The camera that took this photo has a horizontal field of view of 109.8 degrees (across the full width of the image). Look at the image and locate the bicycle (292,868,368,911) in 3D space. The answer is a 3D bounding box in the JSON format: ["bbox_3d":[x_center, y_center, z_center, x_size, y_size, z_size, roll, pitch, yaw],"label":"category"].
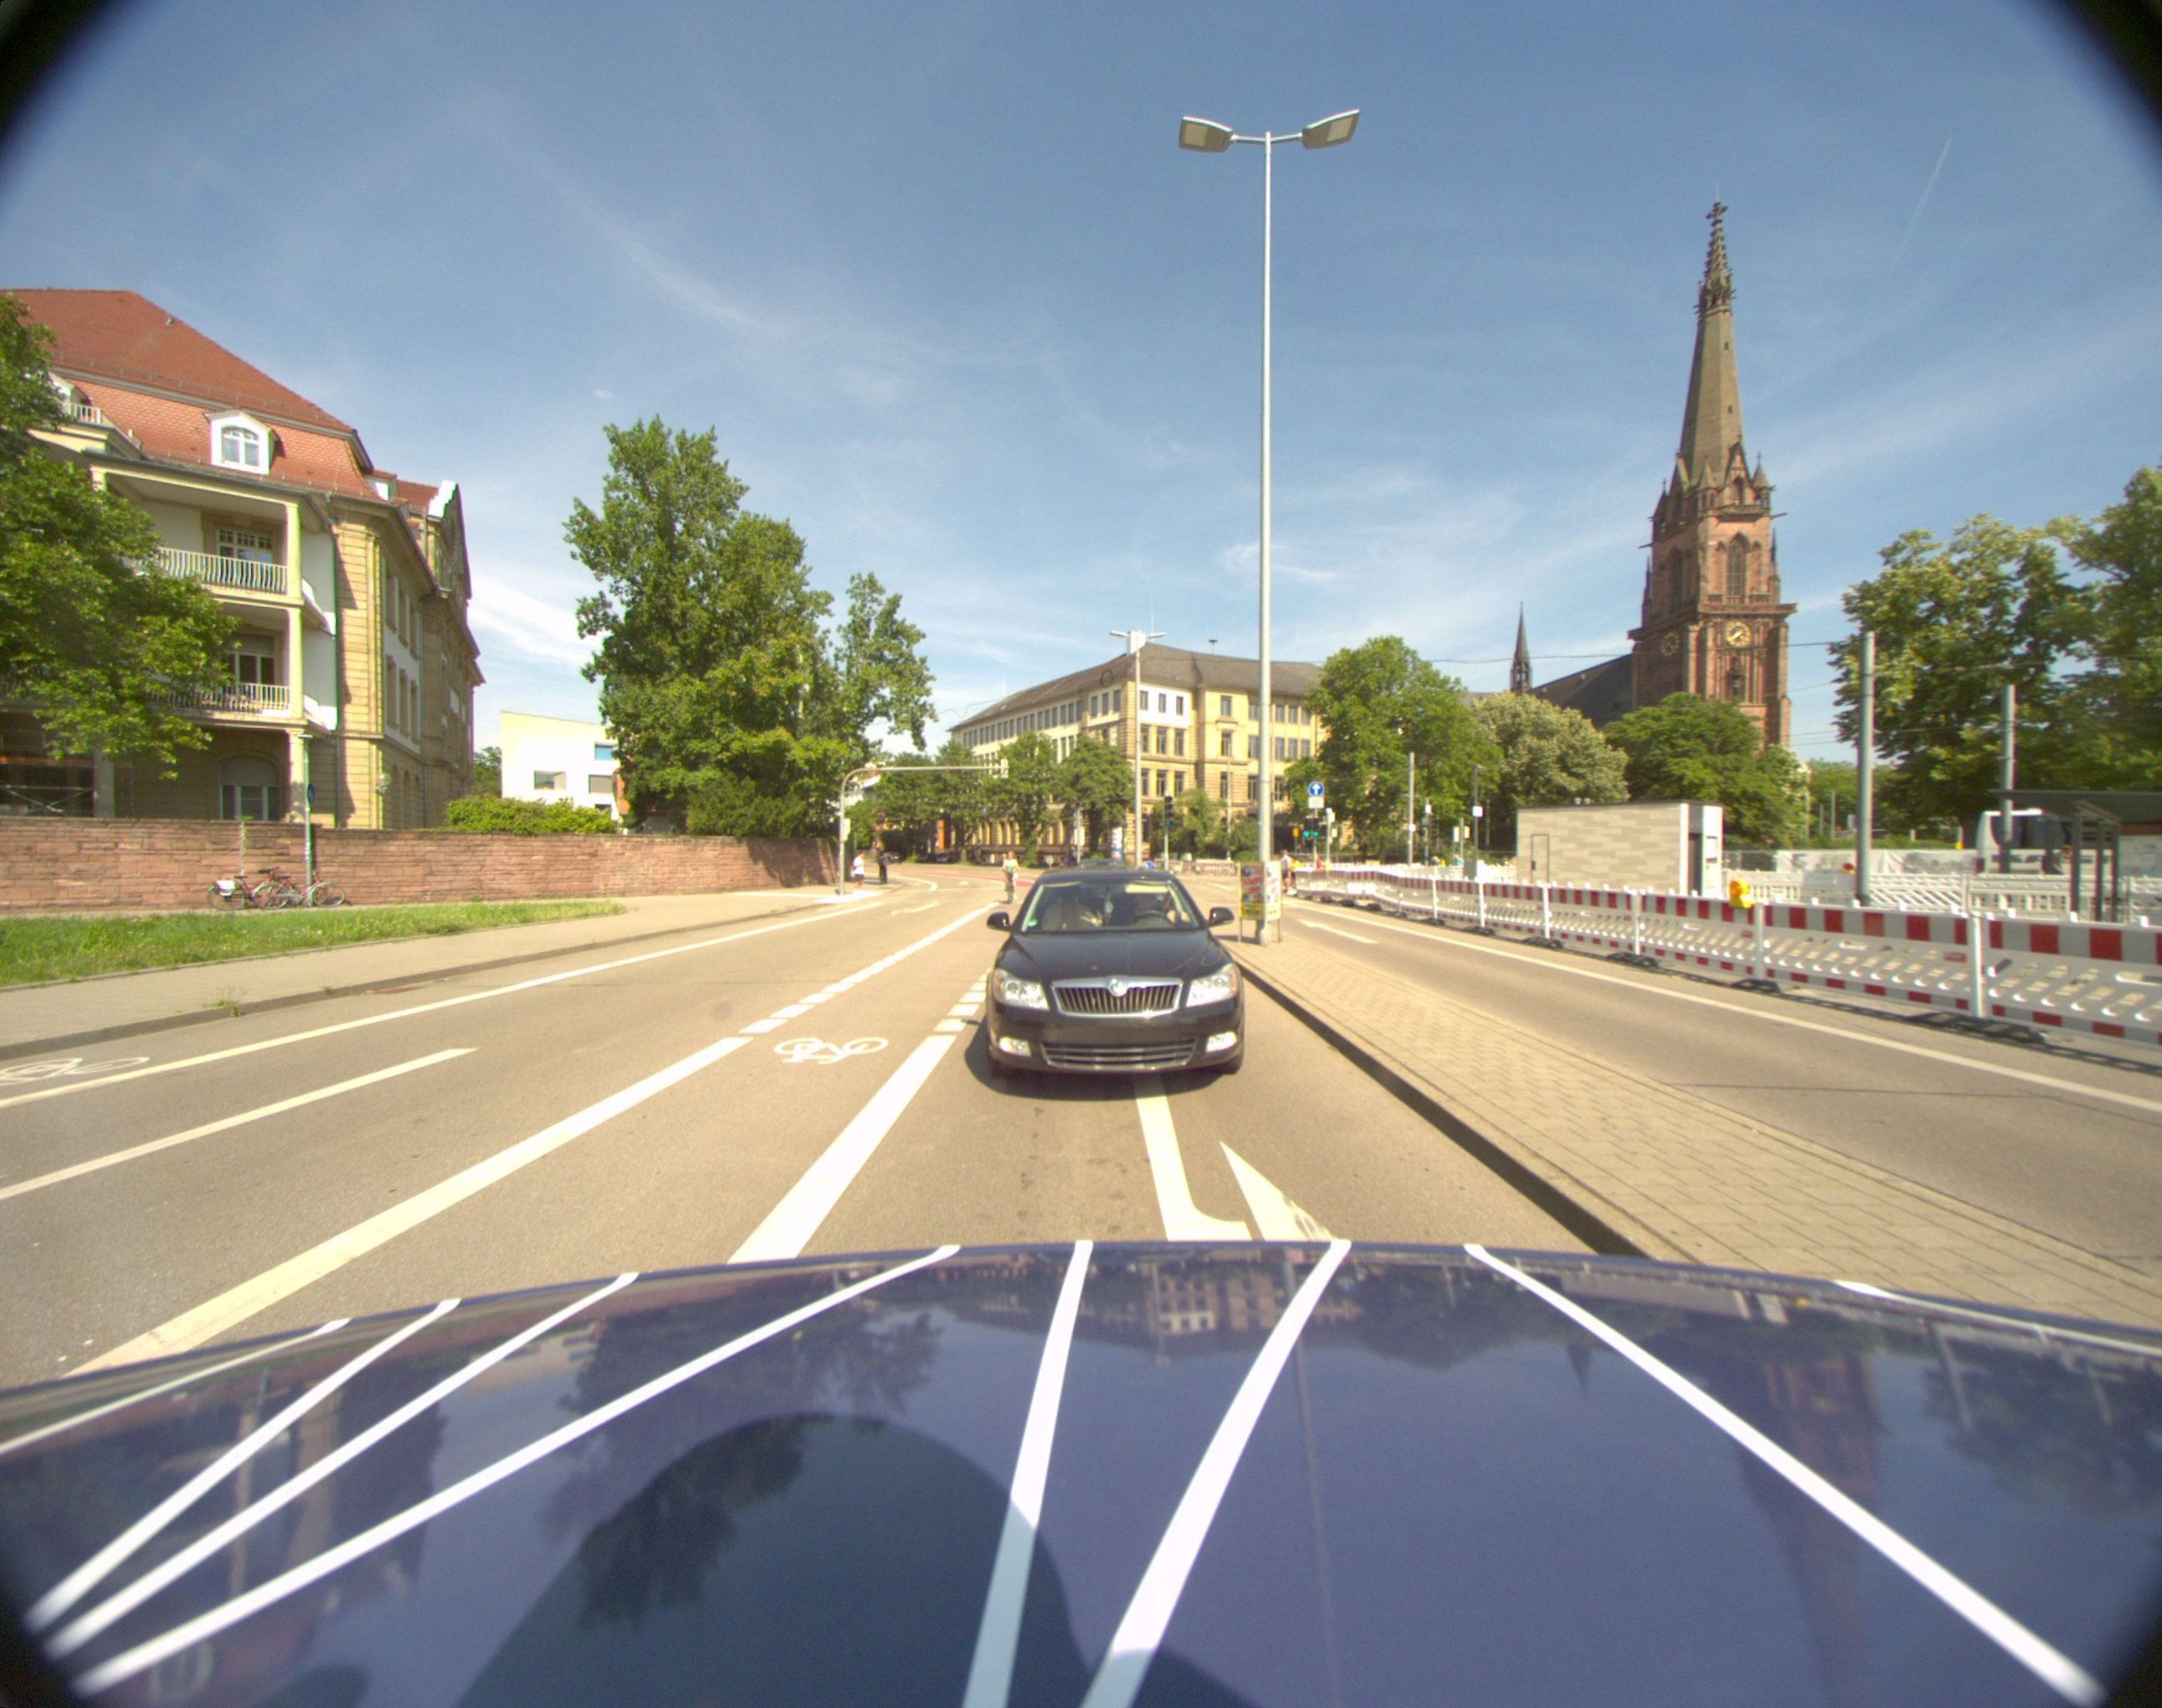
[{"bbox_3d":[-20.516,0.944,20.792,0.348,1.116,1.438,1,1,35],"label":"bicycle"}]

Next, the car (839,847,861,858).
[{"bbox_3d":[-33.855,-0.248,111.384,1.803,1.403,3.988,1,1,-36],"label":"car"}]

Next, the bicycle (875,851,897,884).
[{"bbox_3d":[-10.649,0.744,41.518,0.680,1.755,1.811,1,1,1],"label":"bicycle"}]

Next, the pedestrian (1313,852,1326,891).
[{"bbox_3d":[9.776,0.714,31.171,0.350,1.606,0.686,0,1,2],"label":"pedestrian"}]

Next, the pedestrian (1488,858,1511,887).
[{"bbox_3d":[24.305,1.041,44.155,0.939,1.646,0.845,0,1,9],"label":"pedestrian"}]

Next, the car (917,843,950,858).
[{"bbox_3d":[-20.283,-0.466,104.458,4.008,2.002,1.994,0,1,-35],"label":"car"}]

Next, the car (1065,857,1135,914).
[{"bbox_3d":[0.463,0.823,21.887,1.802,1.368,4.275,-1,1,-1],"label":"car"}]

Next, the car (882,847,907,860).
[{"bbox_3d":[-23.581,-0.052,95.995,1.675,1.442,3.806,1,1,-39],"label":"car"}]

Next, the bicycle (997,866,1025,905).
[{"bbox_3d":[-2.319,1.023,25.407,0.685,1.215,2.186,0,1,0],"label":"bicycle"}]

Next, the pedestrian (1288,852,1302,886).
[{"bbox_3d":[9.955,0.713,35.344,0.422,1.534,0.669,-3,1,25],"label":"pedestrian"}]

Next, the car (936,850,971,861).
[{"bbox_3d":[-16.883,0.193,100.698,4.008,1.455,1.994,0,1,-35],"label":"car"}]

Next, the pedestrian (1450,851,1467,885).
[{"bbox_3d":[18.060,0.670,36.339,0.584,1.606,0.691,0,1,39],"label":"pedestrian"}]

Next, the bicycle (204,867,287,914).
[{"bbox_3d":[-21.458,0.916,19.548,0.348,1.116,1.437,1,1,15],"label":"bicycle"}]

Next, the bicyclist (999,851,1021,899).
[{"bbox_3d":[-2.350,0.677,25.333,0.588,1.539,0.931,-2,2,0],"label":"bicyclist"}]

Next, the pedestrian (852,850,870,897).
[{"bbox_3d":[-9.068,0.798,31.334,0.654,1.863,0.795,2,1,-18],"label":"pedestrian"}]

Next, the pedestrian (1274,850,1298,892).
[{"bbox_3d":[8.913,0.730,32.994,0.839,1.802,0.651,0,1,36],"label":"pedestrian"}]

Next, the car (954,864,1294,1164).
[{"bbox_3d":[0.253,0.921,6.608,1.864,1.510,4.826,0,1,0],"label":"car"}]

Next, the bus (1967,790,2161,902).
[{"bbox_3d":[35.760,-0.222,22.159,2.867,3.469,12.624,0,1,-34],"label":"bus"}]

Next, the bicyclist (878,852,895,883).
[{"bbox_3d":[-10.632,0.737,41.542,0.680,1.646,0.919,1,1,1],"label":"bicyclist"}]

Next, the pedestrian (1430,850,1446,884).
[{"bbox_3d":[16.933,0.600,36.012,0.660,1.606,0.795,0,0,26],"label":"pedestrian"}]
